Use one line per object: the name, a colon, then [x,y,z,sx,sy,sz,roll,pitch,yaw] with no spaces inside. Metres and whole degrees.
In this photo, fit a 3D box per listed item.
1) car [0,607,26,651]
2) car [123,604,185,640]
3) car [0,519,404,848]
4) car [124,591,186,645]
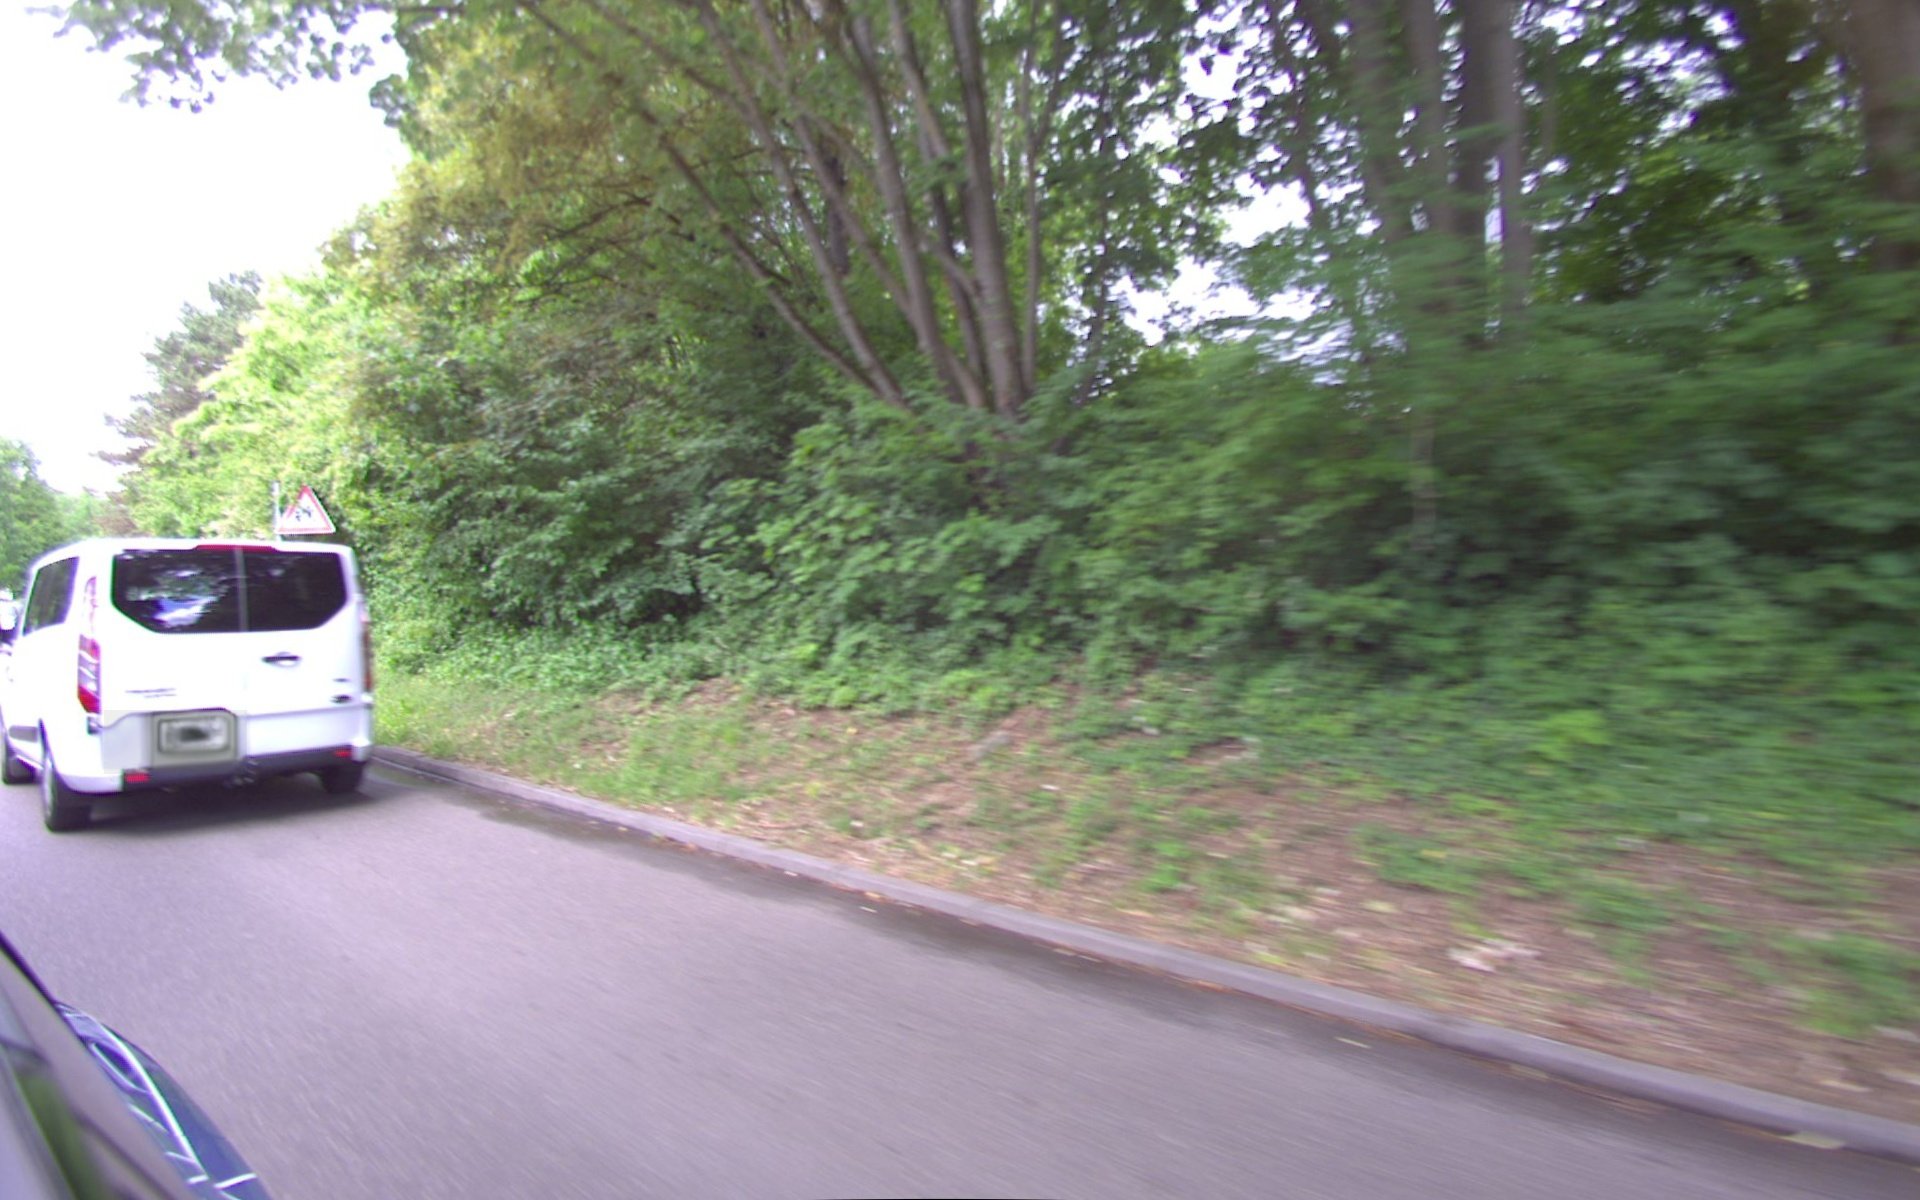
car: [-42.364,1.282,44.254,1.969,1.706,4.007,-4,4,-40]
car: [-35.590,0.954,44.654,1.784,1.413,4.377,-4,2,-42]
car: [-6.544,0.527,8.347,4.498,1.999,1.928,-1,0,40]
car: [-31.440,0.694,39.479,1.700,1.935,4.111,-4,1,-40]
